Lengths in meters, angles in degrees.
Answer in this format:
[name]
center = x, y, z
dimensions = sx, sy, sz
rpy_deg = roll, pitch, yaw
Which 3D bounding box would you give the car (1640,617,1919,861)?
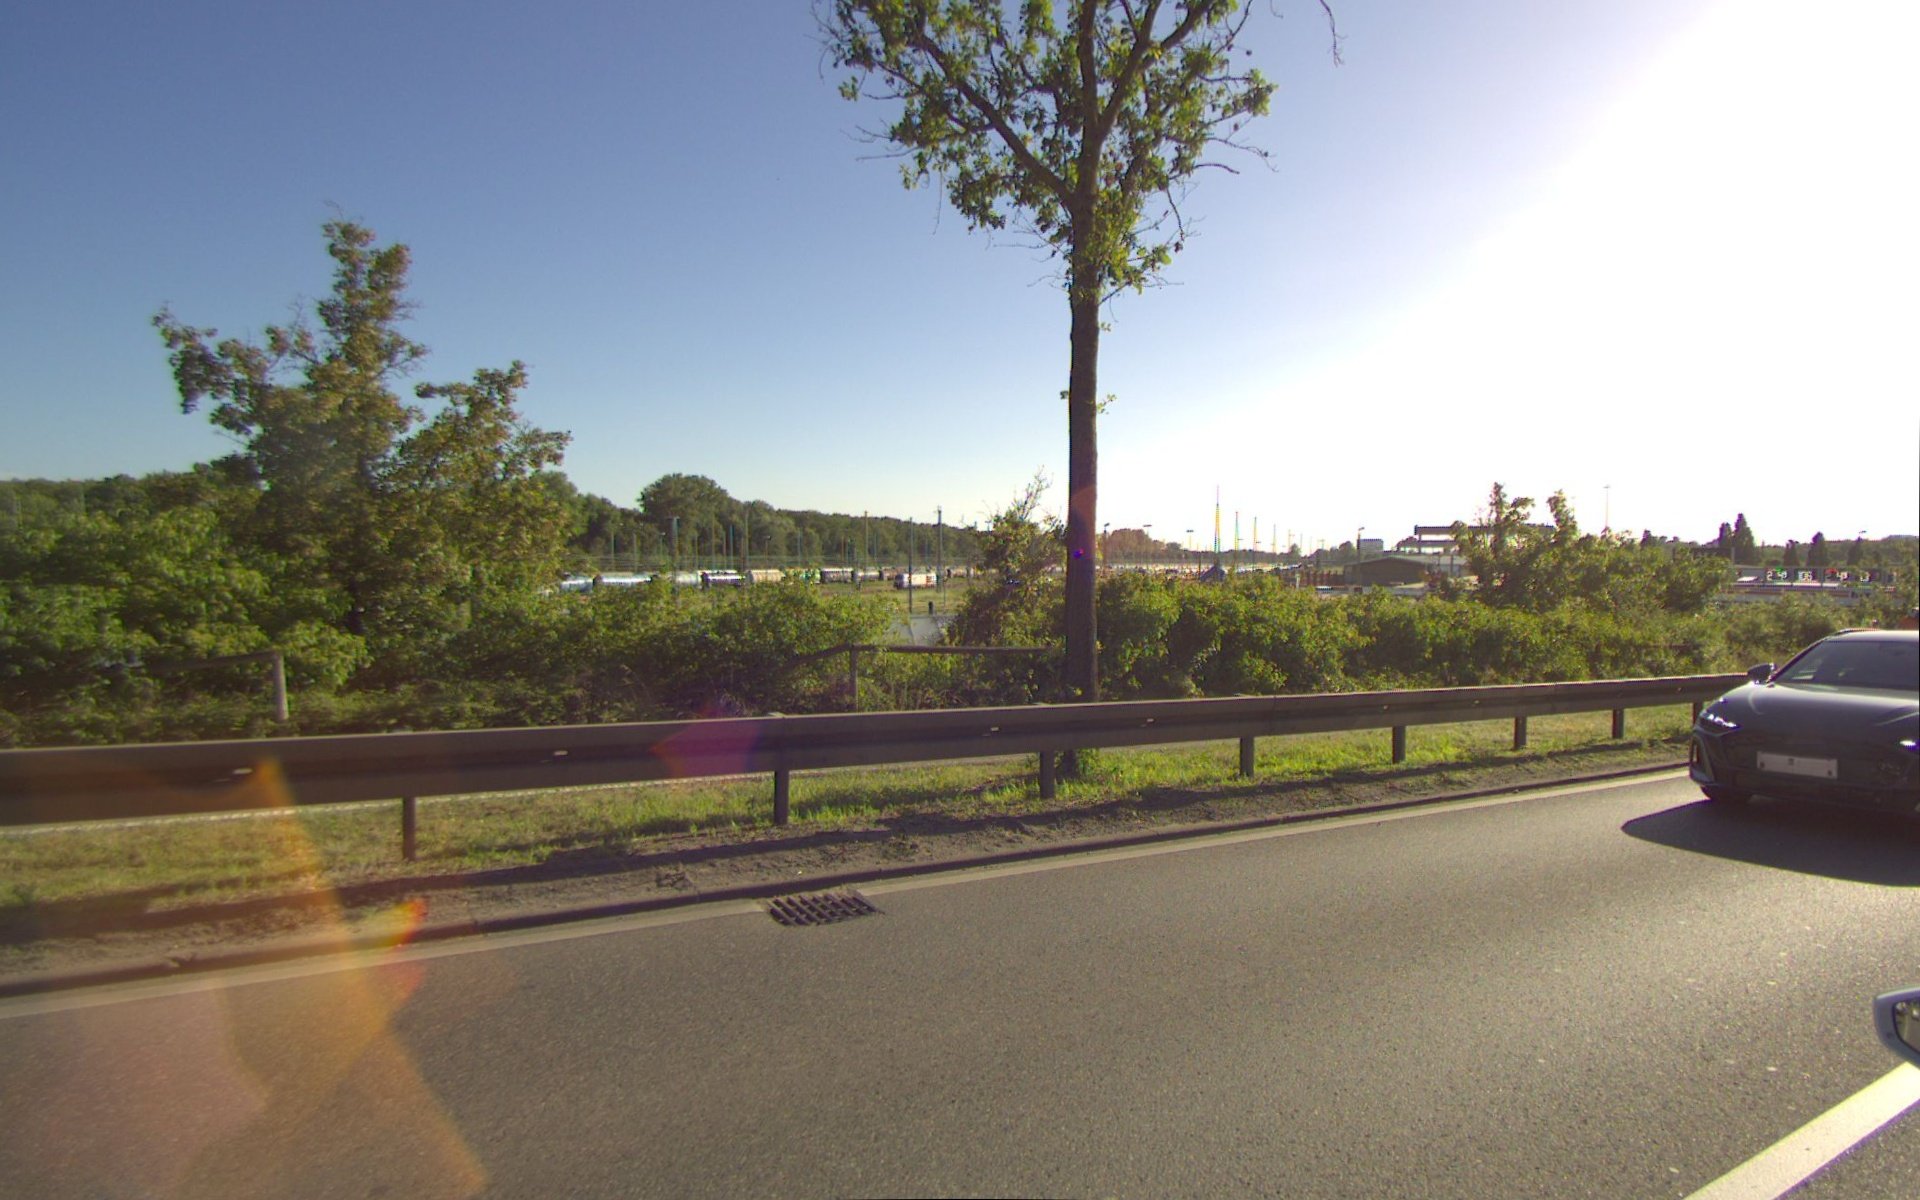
[car]
center = 7.778, 0.944, 8.270
dimensions = 4.663, 1.512, 1.840
rpy_deg = 1, 1, -32

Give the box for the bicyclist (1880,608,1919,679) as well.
[bicyclist]
center = 22.494, 1.021, 23.893
dimensions = 0.864, 1.645, 0.648
rpy_deg = 1, 1, -32

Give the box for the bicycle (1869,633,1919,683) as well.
[bicycle]
center = 22.418, 1.358, 23.855
dimensions = 2.084, 1.110, 0.657
rpy_deg = 1, 1, -32
